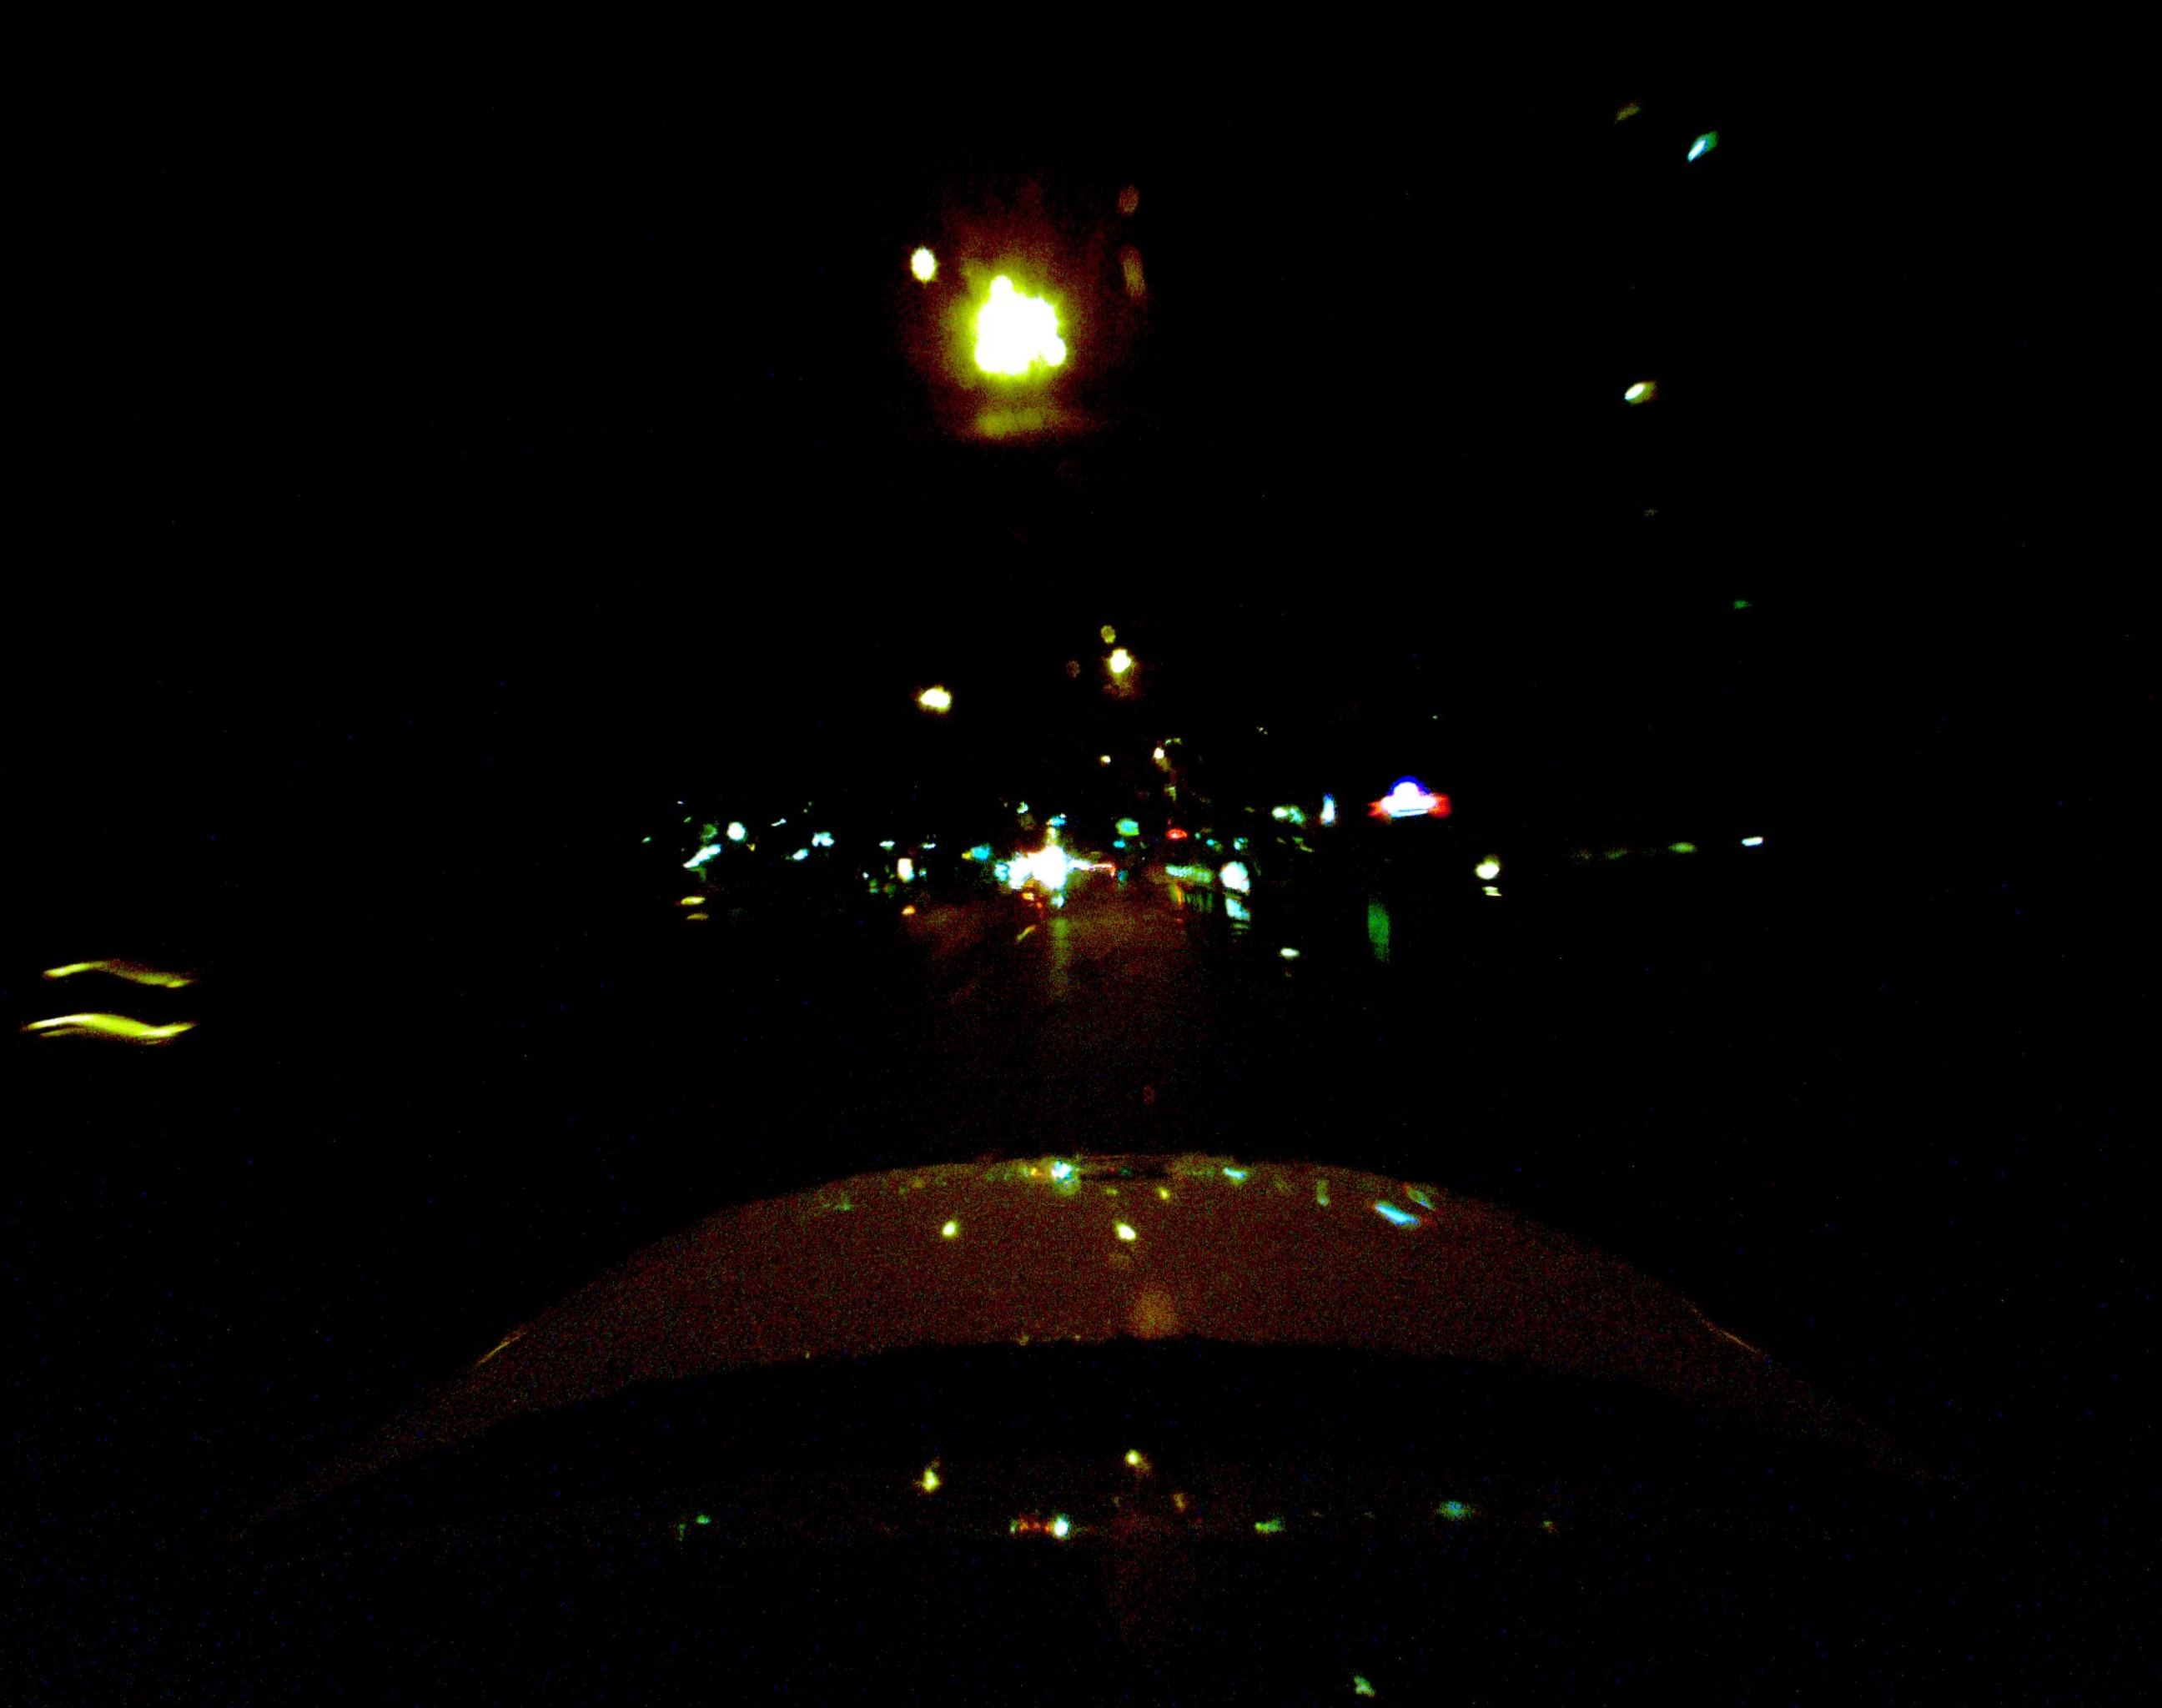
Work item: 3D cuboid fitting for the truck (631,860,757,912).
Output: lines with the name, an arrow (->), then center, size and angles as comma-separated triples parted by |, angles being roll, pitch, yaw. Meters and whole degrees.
truck -> -18.018, 1.443, 38.282 | 2.105, 2.013, 5.289 | -3, 1, 20

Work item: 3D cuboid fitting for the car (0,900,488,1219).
car -> -6.039, 1.166, 4.828 | 1.592, 1.373, 4.356 | -6, 0, 2

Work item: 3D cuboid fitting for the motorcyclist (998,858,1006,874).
motorcyclist -> -9.758, 1.486, 100.959 | 0.690, 2.013, 0.983 | -4, 0, 3

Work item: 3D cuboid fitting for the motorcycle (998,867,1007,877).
motorcycle -> -9.702, 2.211, 101.016 | 0.698, 1.138, 2.177 | -4, 0, 3

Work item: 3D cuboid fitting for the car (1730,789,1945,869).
car -> 20.502, -0.649, 22.215 | 3.973, 1.871, 1.929 | -3, 0, 1

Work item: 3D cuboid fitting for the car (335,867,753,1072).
car -> -5.598, 1.053, 9.326 | 1.592, 1.564, 4.382 | -6, 0, 2

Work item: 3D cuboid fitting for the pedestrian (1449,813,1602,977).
pedestrian -> 4.606, 0.413, 8.542 | 1.044, 1.575, 1.020 | -3, 0, 6

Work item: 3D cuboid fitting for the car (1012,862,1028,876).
car -> -7.613, 1.882, 101.887 | 1.849, 1.499, 4.762 | -4, 1, -5

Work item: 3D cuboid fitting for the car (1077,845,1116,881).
car -> 0.967, 0.534, 50.382 | 2.161, 1.972, 4.302 | -4, 0, 1

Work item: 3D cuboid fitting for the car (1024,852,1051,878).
car -> -3.719, 0.894, 70.688 | 2.029, 1.953, 5.196 | -6, 1, -2

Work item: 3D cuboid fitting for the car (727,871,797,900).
car -> -19.526, 1.888, 50.047 | 1.699, 1.520, 3.939 | -3, 0, 21

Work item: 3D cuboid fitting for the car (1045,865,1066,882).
car -> -2.538, 1.908, 79.920 | 1.815, 1.542, 4.719 | -4, 0, -4

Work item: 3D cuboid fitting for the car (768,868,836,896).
car -> -16.971, 1.670, 49.714 | 1.699, 1.431, 3.939 | -3, 0, 21
